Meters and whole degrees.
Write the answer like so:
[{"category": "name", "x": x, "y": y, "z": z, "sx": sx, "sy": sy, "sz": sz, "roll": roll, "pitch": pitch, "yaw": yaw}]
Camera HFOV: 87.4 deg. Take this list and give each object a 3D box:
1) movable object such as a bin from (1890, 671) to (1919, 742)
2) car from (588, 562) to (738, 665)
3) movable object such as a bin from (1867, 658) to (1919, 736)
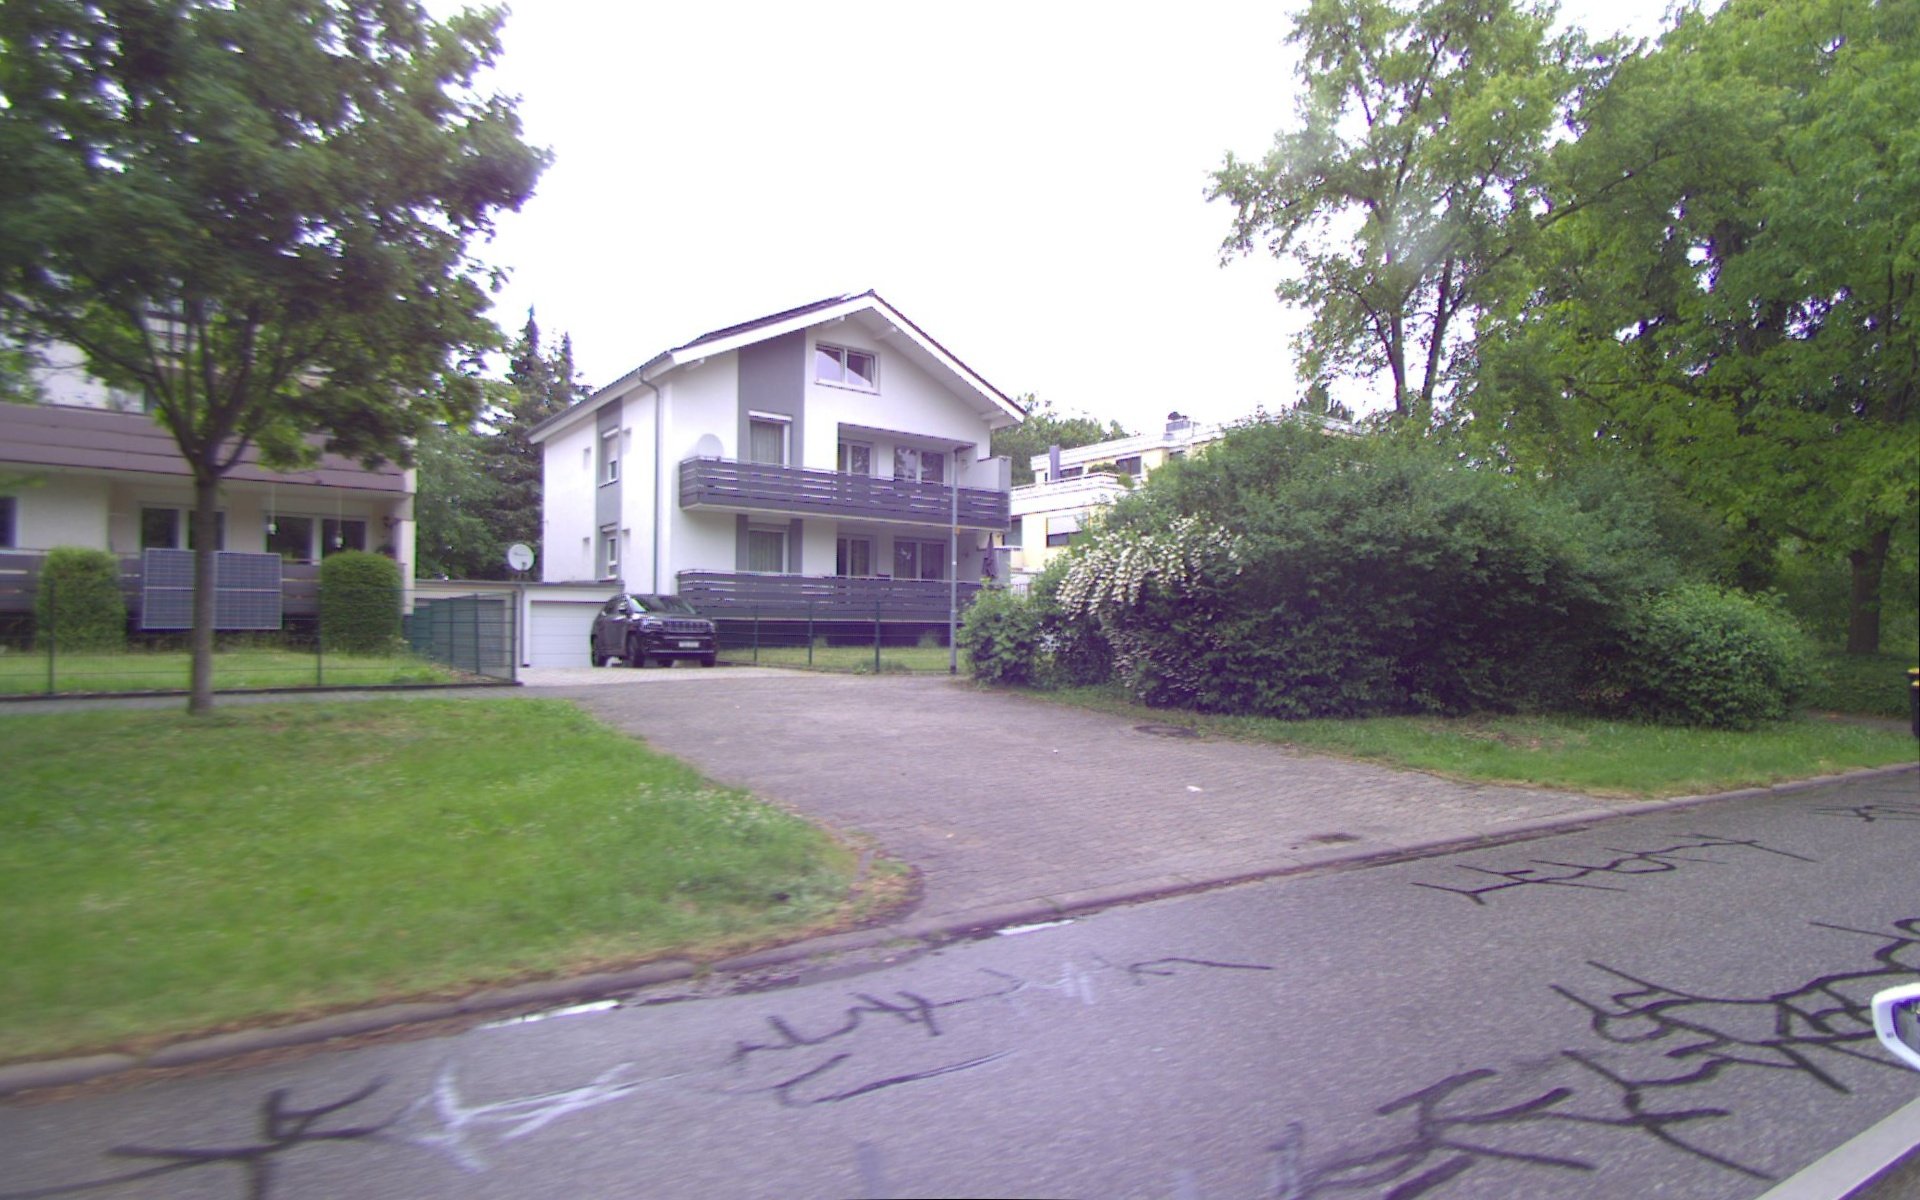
[{"category": "movable object such as a bin", "x": 14.159, "y": 1.570, "z": 14.693, "sx": 0.571, "sy": 0.992, "sz": 0.645, "roll": 1, "pitch": 1, "yaw": -29}, {"category": "car", "x": -6.580, "y": 0.333, "z": 21.998, "sx": 1.980, "sy": 2.040, "sz": 3.961, "roll": 1, "pitch": -2, "yaw": -35}, {"category": "movable object such as a bin", "x": 14.684, "y": 1.475, "z": 15.279, "sx": 0.954, "sy": 1.120, "sz": 1.033, "roll": 1, "pitch": 1, "yaw": -29}]
